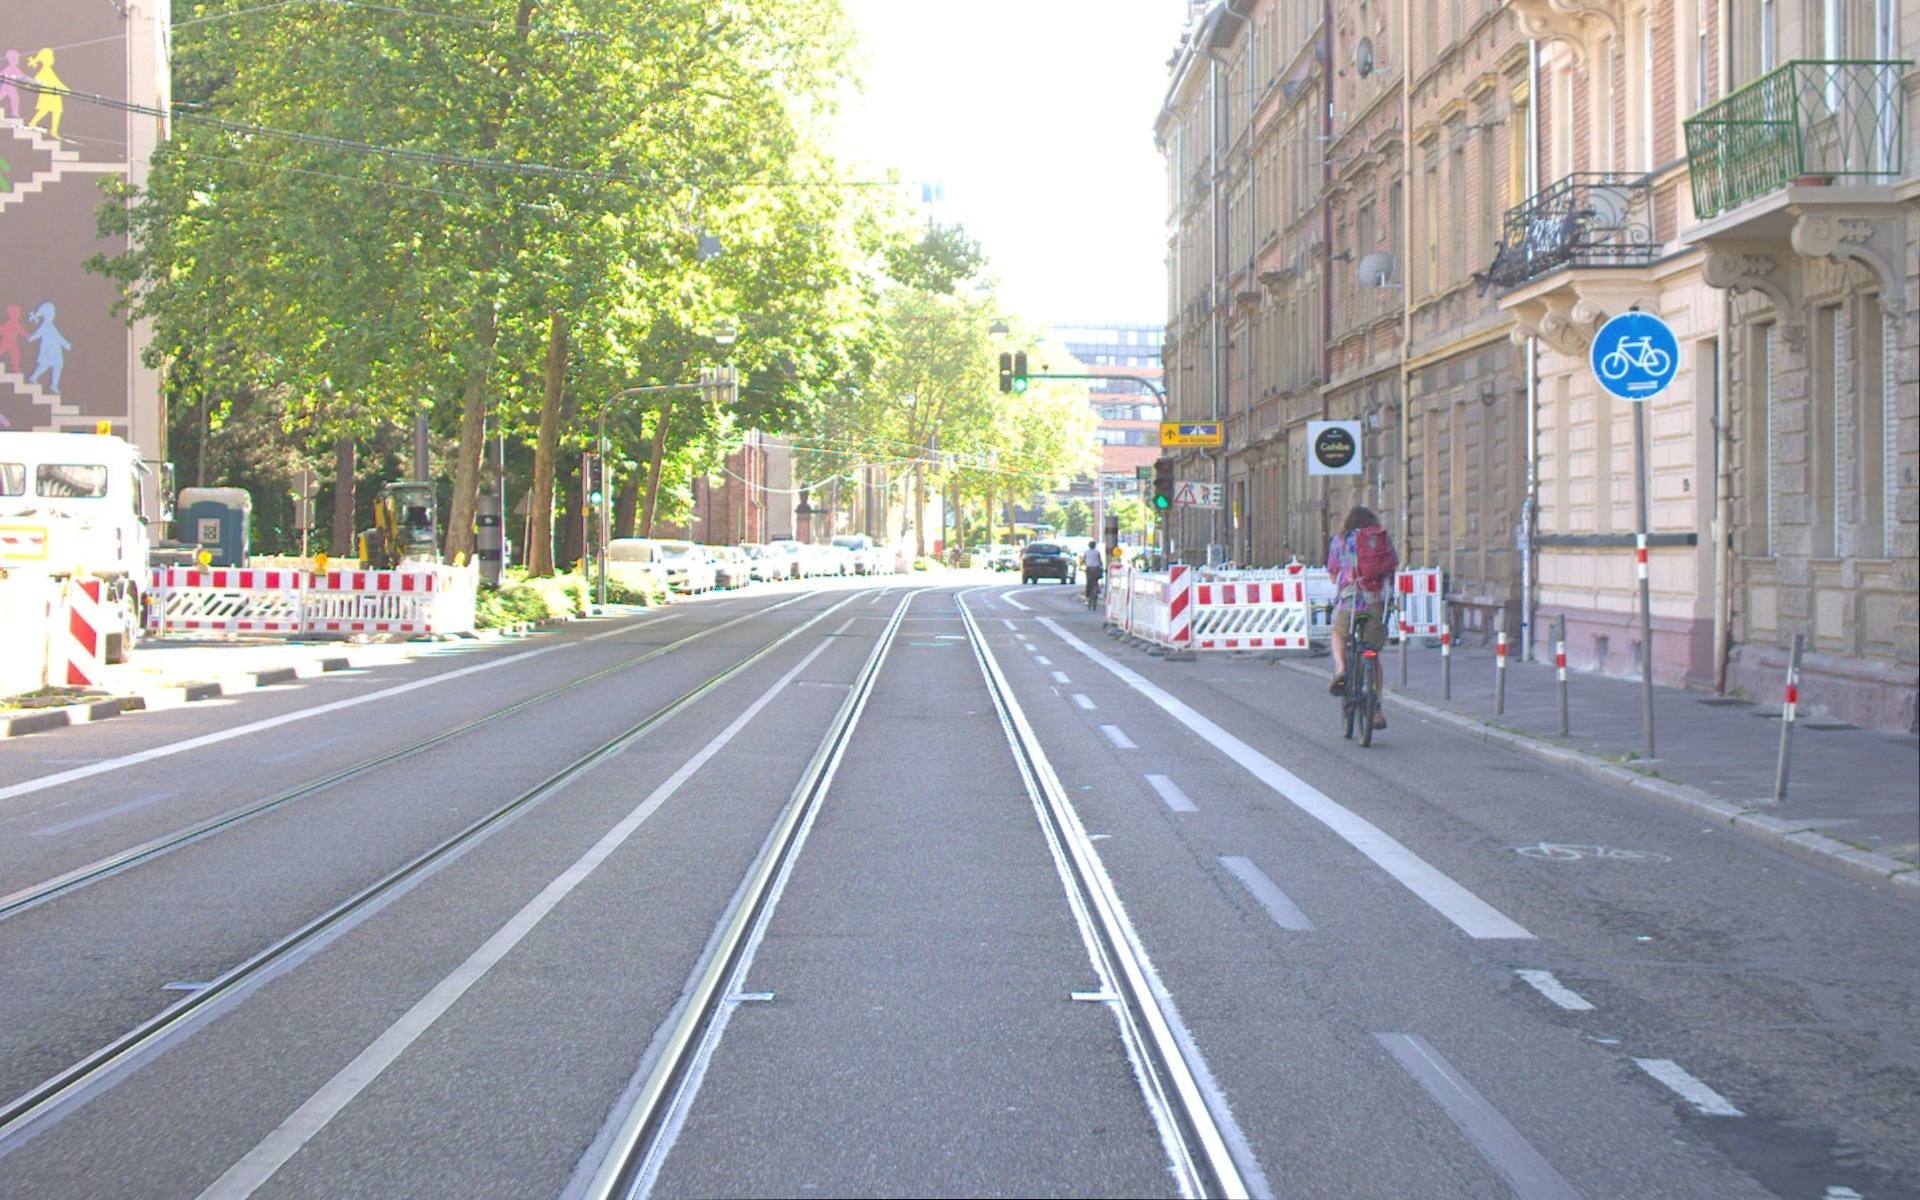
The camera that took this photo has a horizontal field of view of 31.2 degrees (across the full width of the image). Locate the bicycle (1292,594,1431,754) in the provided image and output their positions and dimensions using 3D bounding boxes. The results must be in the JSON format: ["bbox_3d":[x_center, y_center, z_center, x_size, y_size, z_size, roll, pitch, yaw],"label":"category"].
[{"bbox_3d":[3.049,0.537,26.343,0.681,1.110,2.707,2,1,-1],"label":"bicycle"}]

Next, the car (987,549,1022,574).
[{"bbox_3d":[2.628,-2.242,200.445,1.748,1.417,4.043,2,0,4],"label":"car"}]

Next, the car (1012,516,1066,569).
[{"bbox_3d":[3.137,-2.264,136.724,1.993,2.007,4.000,2,0,0],"label":"car"}]

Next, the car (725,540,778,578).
[{"bbox_3d":[-8.590,-1.689,141.708,1.748,1.490,4.043,2,0,2],"label":"car"}]

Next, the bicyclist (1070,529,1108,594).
[{"bbox_3d":[3.154,-0.942,84.384,0.838,1.552,0.965,2,0,-1],"label":"bicyclist"}]

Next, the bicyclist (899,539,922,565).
[{"bbox_3d":[-2.748,-2.679,192.564,1.078,1.423,1.146,2,0,8],"label":"bicyclist"}]

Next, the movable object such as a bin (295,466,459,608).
[{"bbox_3d":[-11.618,-1.260,68.937,2.495,2.636,5.990,2,1,-3],"label":"movable object such as a bin"}]

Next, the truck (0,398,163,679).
[{"bbox_3d":[-10.614,-0.682,37.816,2.537,2.820,6.377,2,0,-4],"label":"truck"}]

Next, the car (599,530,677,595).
[{"bbox_3d":[-8.654,-1.002,92.706,1.545,1.653,3.762,2,0,2],"label":"car"}]

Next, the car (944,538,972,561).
[{"bbox_3d":[-0.130,-3.789,256.679,1.748,1.619,4.043,2,0,4],"label":"car"}]

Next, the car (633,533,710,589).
[{"bbox_3d":[-8.646,-1.156,103.214,1.748,1.602,4.043,2,0,2],"label":"car"}]

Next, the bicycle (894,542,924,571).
[{"bbox_3d":[-2.864,-2.449,192.616,1.234,1.567,2.896,2,0,7],"label":"bicycle"}]

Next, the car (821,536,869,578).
[{"bbox_3d":[-5.753,-2.142,172.500,2.059,2.045,4.043,2,0,2],"label":"car"}]

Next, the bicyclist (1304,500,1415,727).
[{"bbox_3d":[3.059,0.098,26.395,0.667,1.691,1.043,2,0,-1],"label":"bicyclist"}]

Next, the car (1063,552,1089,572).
[{"bbox_3d":[8.744,-2.859,259.958,1.748,1.417,4.043,2,0,4],"label":"car"}]

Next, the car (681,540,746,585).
[{"bbox_3d":[-8.503,-1.288,118.762,1.748,1.504,4.043,2,0,2],"label":"car"}]

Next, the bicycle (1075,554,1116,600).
[{"bbox_3d":[3.325,-0.572,84.557,0.856,1.084,2.487,2,0,0],"label":"bicycle"}]
